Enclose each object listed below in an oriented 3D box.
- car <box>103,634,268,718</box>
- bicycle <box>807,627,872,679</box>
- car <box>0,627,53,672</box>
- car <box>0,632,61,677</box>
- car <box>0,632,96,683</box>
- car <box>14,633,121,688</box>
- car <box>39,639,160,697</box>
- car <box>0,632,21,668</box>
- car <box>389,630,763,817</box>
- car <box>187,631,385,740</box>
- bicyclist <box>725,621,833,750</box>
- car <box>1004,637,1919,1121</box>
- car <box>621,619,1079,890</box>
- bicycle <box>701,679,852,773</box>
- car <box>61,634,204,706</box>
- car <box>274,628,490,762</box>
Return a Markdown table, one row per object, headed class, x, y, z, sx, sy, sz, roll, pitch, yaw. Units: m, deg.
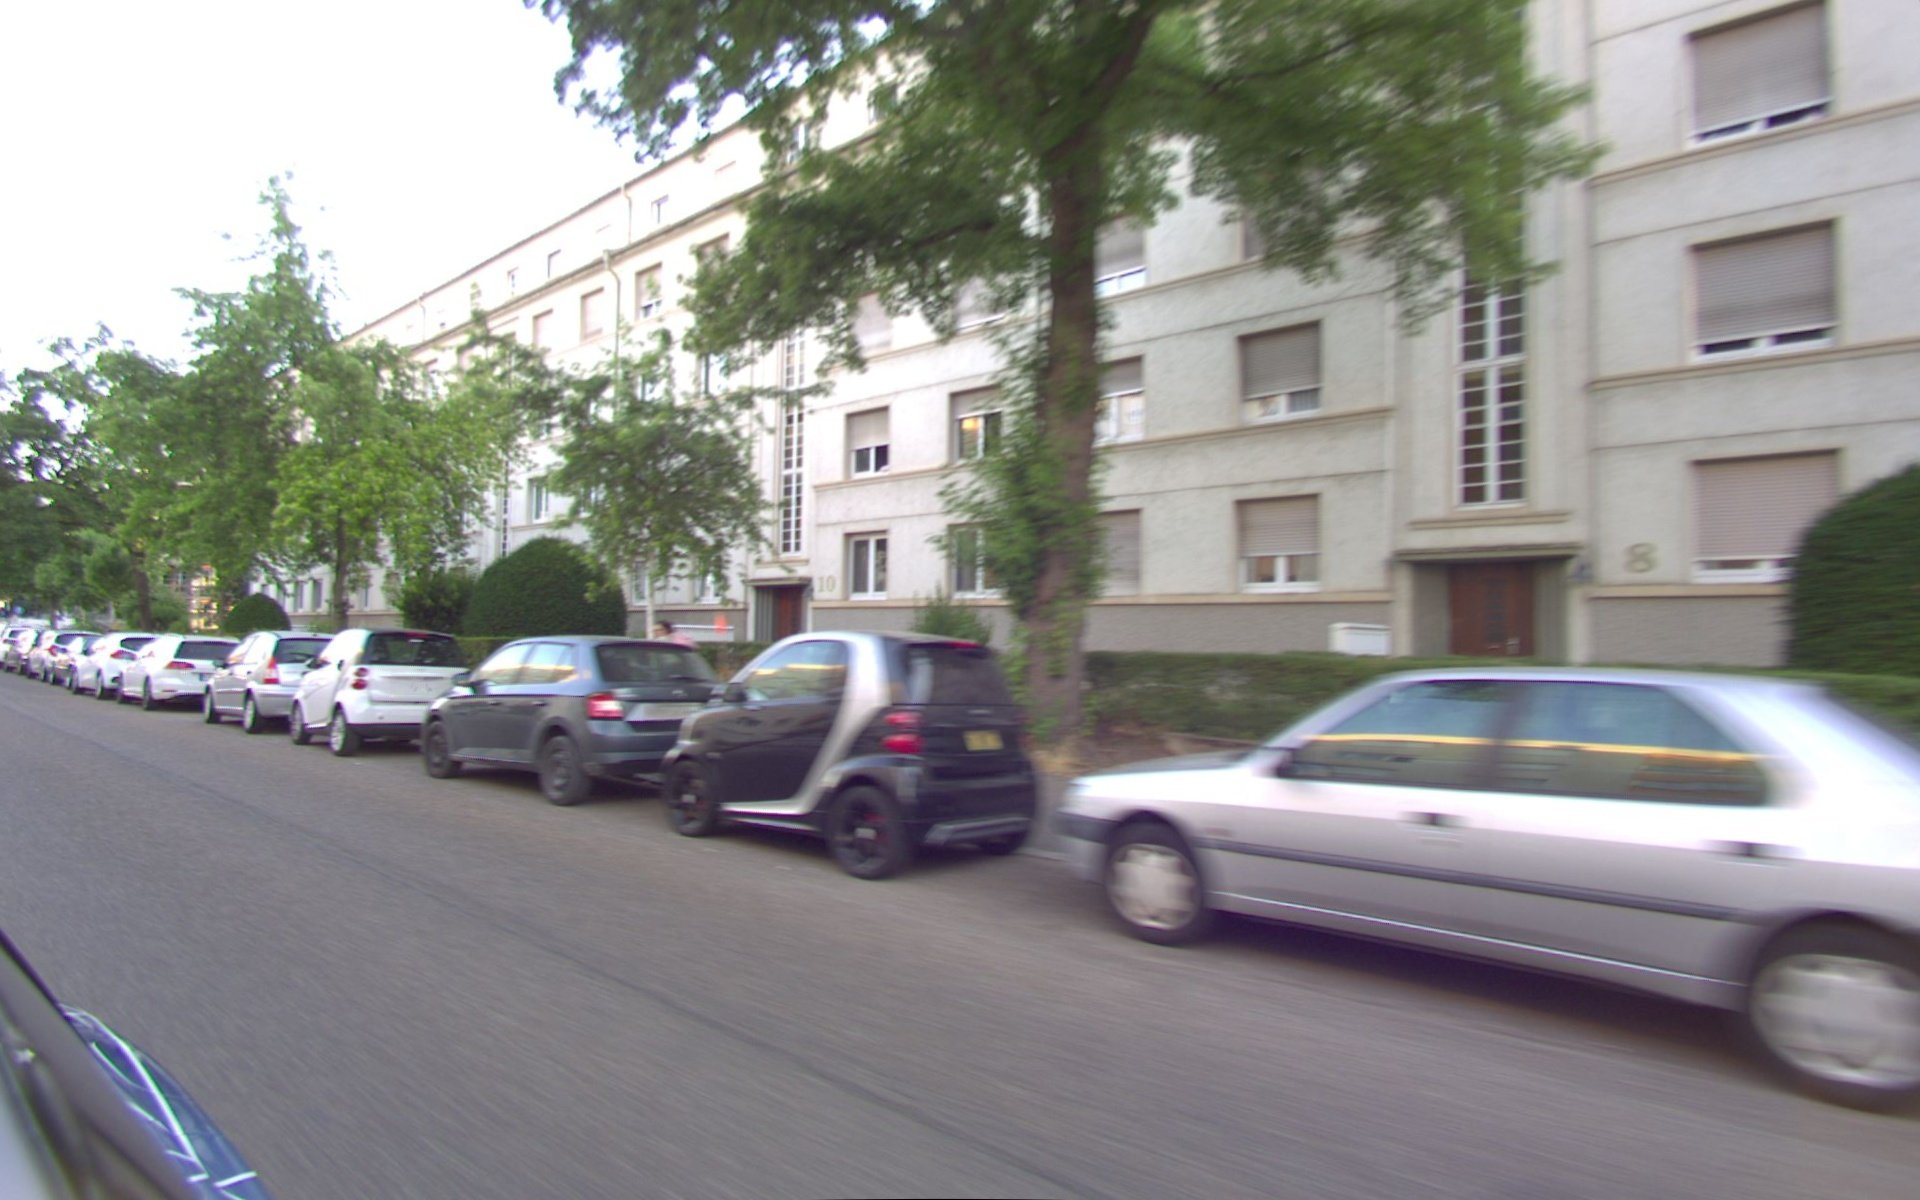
| class | x | y | z | sx | sy | sz | roll | pitch | yaw |
| --- | --- | --- | --- | --- | --- | --- | --- | --- | --- |
| car | -15.508 | 1.472 | 20.177 | 4.481 | 1.471 | 1.674 | -1 | -6 | 41 |
| bicycle | -2.972 | 1.277 | 24.856 | 1.817 | 1.240 | 0.550 | -2 | -3 | 44 |
| car | -37.397 | 1.933 | 39.927 | 4.104 | 1.644 | 1.734 | -1 | -6 | 40 |
| car | -34.107 | 1.945 | 36.742 | 3.944 | 1.491 | 1.733 | -2 | -6 | 43 |
| car | -29.960 | 1.852 | 33.088 | 4.675 | 1.491 | 1.735 | -1 | -6 | 40 |
| car | -26.346 | 1.767 | 29.845 | 3.701 | 1.471 | 1.658 | -1 | -6 | 39 |
| car | -22.739 | 1.760 | 26.690 | 4.577 | 1.342 | 1.657 | -1 | -6 | 41 |
| car | -41.654 | 2.075 | 43.305 | 4.223 | 1.483 | 1.733 | -2 | -6 | 43 |
| car | -3.928 | 1.098 | 10.033 | 4.098 | 1.477 | 1.574 | -1 | -6 | 40 |
| car | -10.762 | 1.307 | 16.072 | 3.797 | 1.516 | 1.573 | -1 | -6 | 41 |
| bicyclist | -2.101 | 0.955 | 11.749 | 0.973 | 1.415 | 0.799 | -2 | -3 | 41 |
| car | 2.333 | 0.938 | 4.590 | 4.179 | 1.415 | 1.573 | -1 | -6 | 42 |
| car | -0.889 | 0.971 | 7.388 | 3.162 | 1.541 | 1.507 | -1 | -6 | 40 |
| bicycle | -2.145 | 1.415 | 11.714 | 1.761 | 0.918 | 0.799 | -2 | -3 | 41 |
| car | -19.057 | 1.573 | 23.251 | 4.141 | 1.471 | 1.675 | -1 | -6 | 40 |
| car | -7.596 | 1.194 | 13.235 | 2.921 | 1.541 | 1.572 | -2 | -6 | 43 |
